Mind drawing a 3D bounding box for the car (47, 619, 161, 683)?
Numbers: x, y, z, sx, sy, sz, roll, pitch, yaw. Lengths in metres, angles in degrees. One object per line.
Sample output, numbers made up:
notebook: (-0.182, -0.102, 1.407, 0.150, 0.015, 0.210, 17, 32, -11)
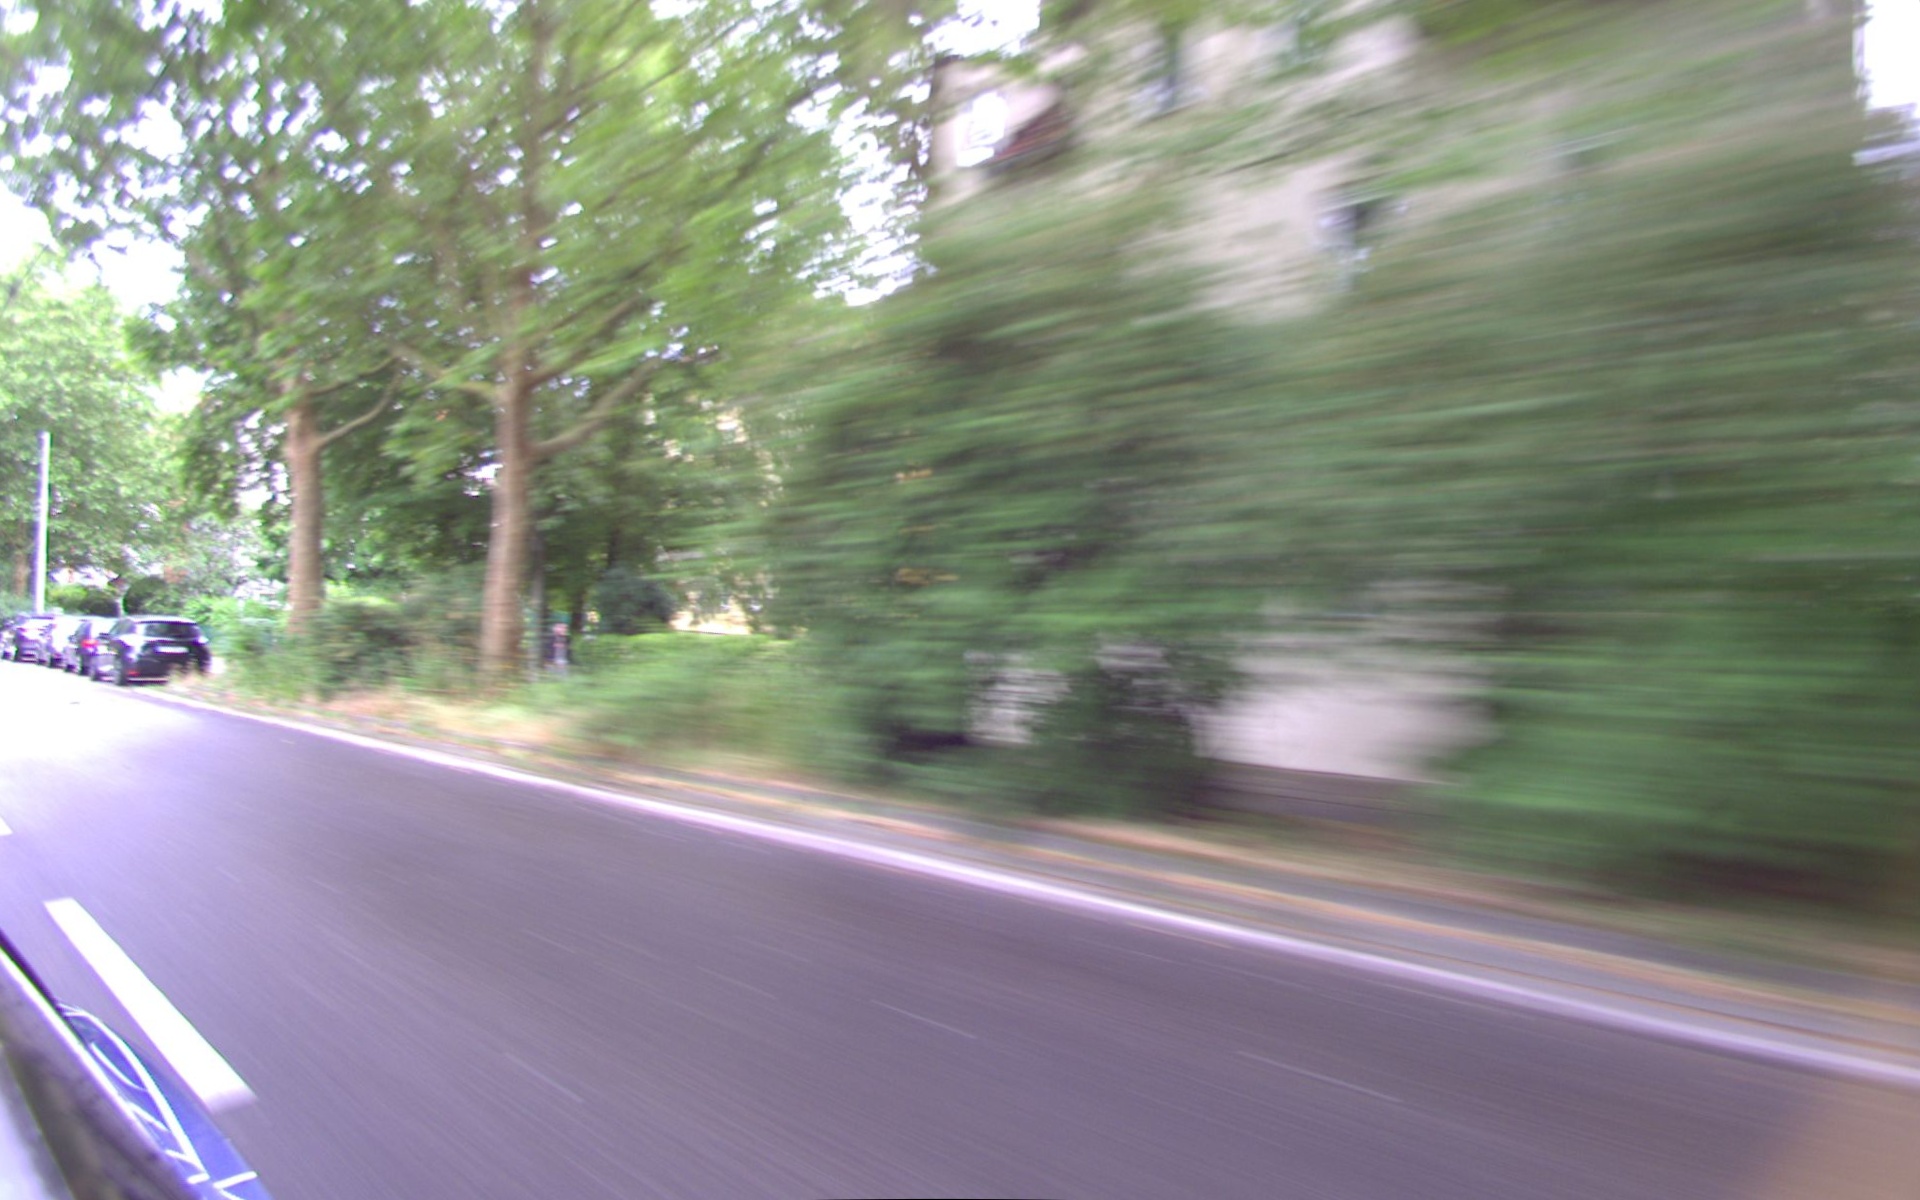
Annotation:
car: (-22.648, 1.318, 26.741, 3.872, 1.519, 1.654, -1, -6, 42)

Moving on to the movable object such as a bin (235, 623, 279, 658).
movable object such as a bin: (-29.320, 1.667, 42.204, 1.480, 1.390, 1.222, -1, -2, 44)

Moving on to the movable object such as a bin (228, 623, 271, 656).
movable object such as a bin: (-30.402, 1.667, 43.282, 1.480, 1.390, 1.222, -1, -2, 44)

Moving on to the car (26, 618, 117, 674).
car: (-26.722, 1.319, 30.389, 4.123, 1.519, 1.654, -1, 0, 43)

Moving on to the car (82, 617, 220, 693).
car: (-18.548, 1.229, 23.144, 4.016, 1.549, 1.631, -1, -5, 41)

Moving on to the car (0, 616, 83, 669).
car: (-30.597, 1.385, 33.336, 4.235, 1.603, 1.846, -1, -4, 40)

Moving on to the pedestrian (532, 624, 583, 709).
pedestrian: (-8.180, 1.322, 20.536, 1.021, 1.631, 0.581, 1, 1, 43)
